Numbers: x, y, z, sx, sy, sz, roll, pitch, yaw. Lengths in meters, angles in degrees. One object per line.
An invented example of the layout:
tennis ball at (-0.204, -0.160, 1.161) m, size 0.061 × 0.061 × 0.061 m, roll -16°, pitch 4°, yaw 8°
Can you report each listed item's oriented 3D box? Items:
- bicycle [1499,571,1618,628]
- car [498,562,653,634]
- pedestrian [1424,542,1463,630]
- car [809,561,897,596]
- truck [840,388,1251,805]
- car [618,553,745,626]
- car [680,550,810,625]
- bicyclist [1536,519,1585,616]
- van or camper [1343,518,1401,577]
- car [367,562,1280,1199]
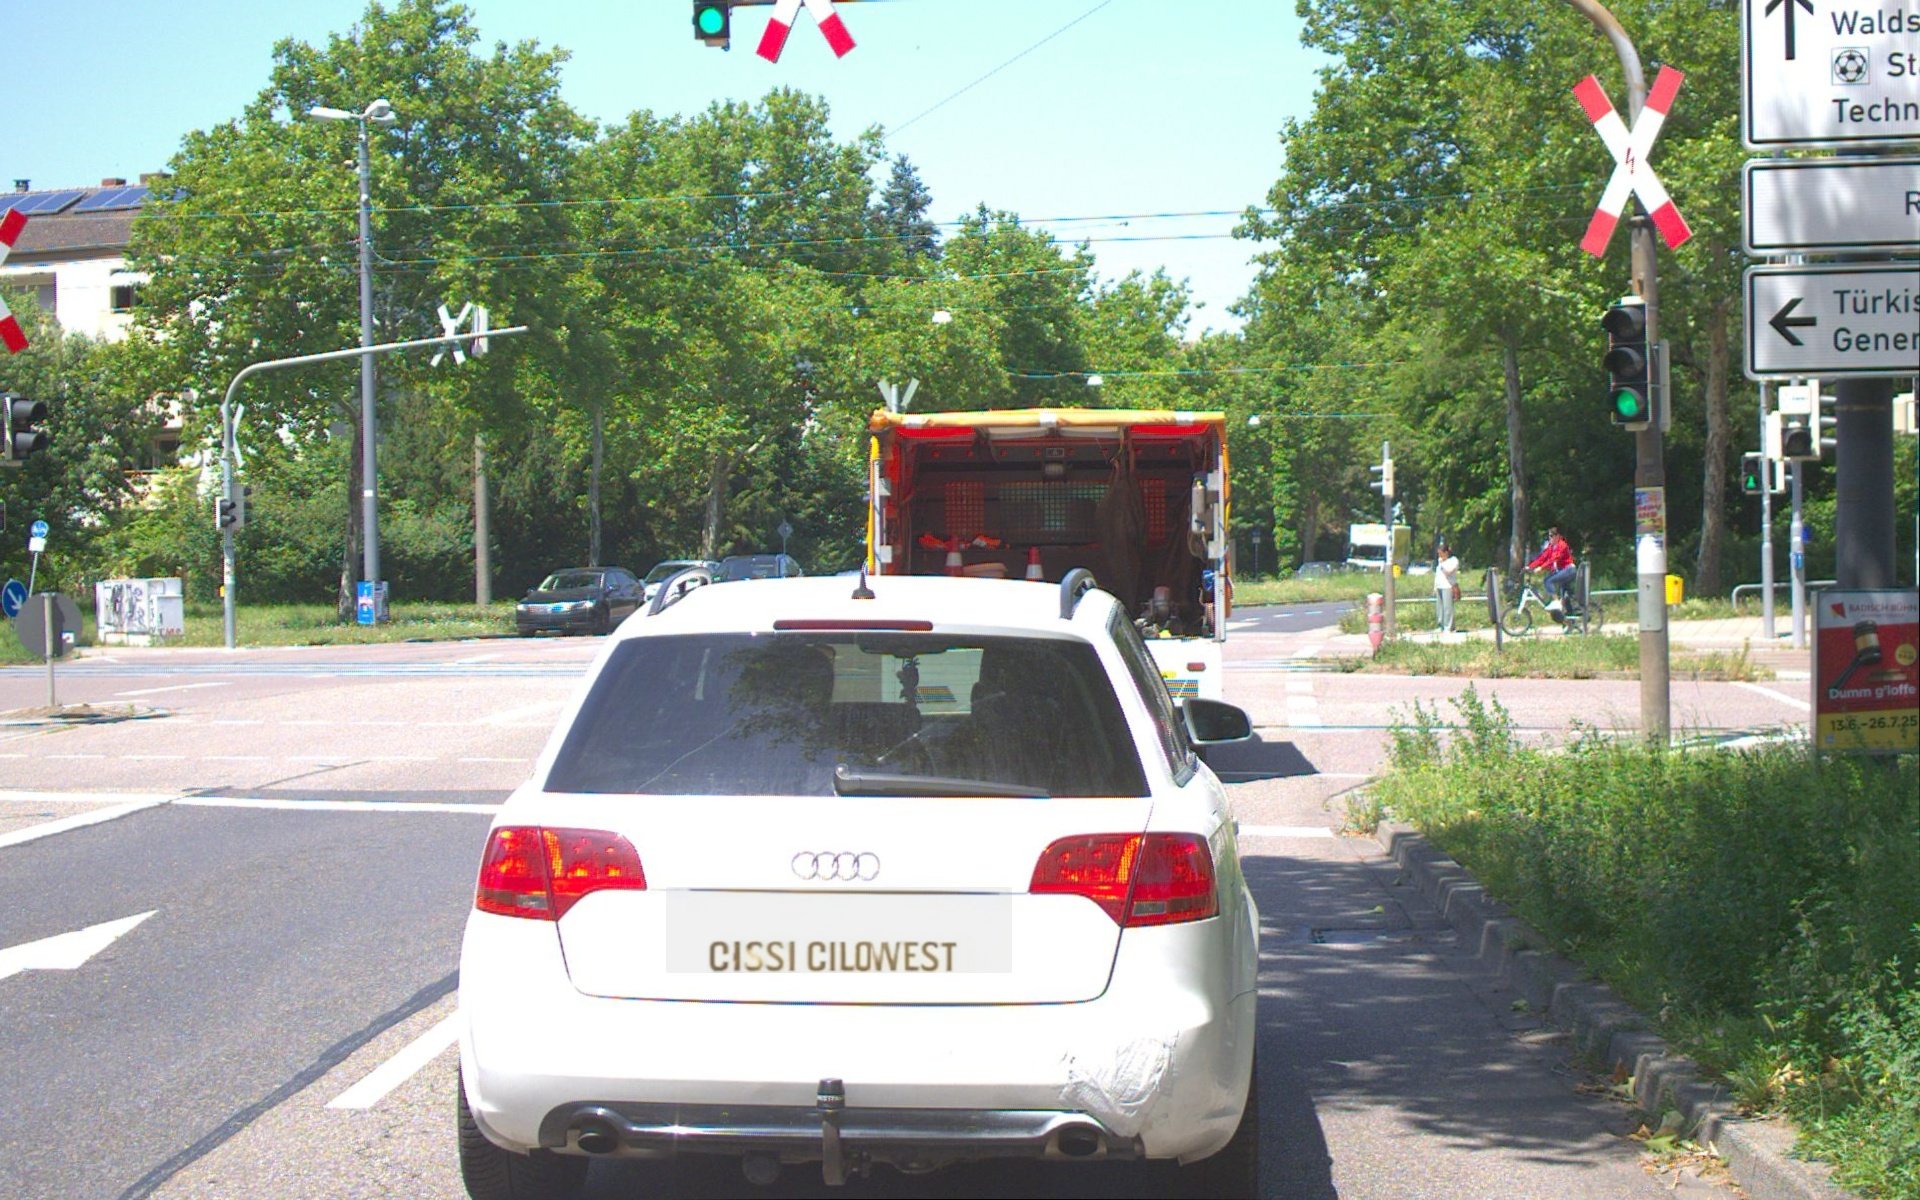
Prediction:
bicycle at (9.718, -0.013, 55.853) m, size 1.805 × 0.892 × 0.589 m, roll -1°, pitch 1°, yaw -1°
car at (-8.174, -0.059, 73.451) m, size 1.950 × 1.435 × 4.744 m, roll 0°, pitch 1°, yaw 11°
pedestrian at (8.192, -0.235, 58.204) m, size 0.553 × 1.479 × 0.629 m, roll -1°, pitch 1°, yaw 16°
car at (-4.312, -0.882, 139.093) m, size 1.884 × 1.388 × 3.994 m, roll 0°, pitch 1°, yaw 26°
truck at (0.697, -0.061, 25.095) m, size 2.511 × 2.551 × 7.602 m, roll 1°, pitch 1°, yaw 3°
car at (-6.500, -0.269, 80.737) m, size 1.788 × 1.609 × 4.402 m, roll -1°, pitch 1°, yaw 12°
car at (-4.584, -0.292, 74.004) m, size 1.909 × 1.533 × 4.297 m, roll -1°, pitch 1°, yaw 8°
bicyclist at (9.749, -0.531, 55.851) m, size 0.671 × 1.551 × 0.579 m, roll -1°, pitch 1°, yaw 0°
van or camper at (23.901, -3.051, 199.370) m, size 2.662 × 3.320 × 5.497 m, roll 0°, pitch 1°, yaw 14°
car at (-0.158, 0.641, 8.432) m, size 1.763 × 1.440 × 3.615 m, roll 0°, pitch 1°, yaw 4°
